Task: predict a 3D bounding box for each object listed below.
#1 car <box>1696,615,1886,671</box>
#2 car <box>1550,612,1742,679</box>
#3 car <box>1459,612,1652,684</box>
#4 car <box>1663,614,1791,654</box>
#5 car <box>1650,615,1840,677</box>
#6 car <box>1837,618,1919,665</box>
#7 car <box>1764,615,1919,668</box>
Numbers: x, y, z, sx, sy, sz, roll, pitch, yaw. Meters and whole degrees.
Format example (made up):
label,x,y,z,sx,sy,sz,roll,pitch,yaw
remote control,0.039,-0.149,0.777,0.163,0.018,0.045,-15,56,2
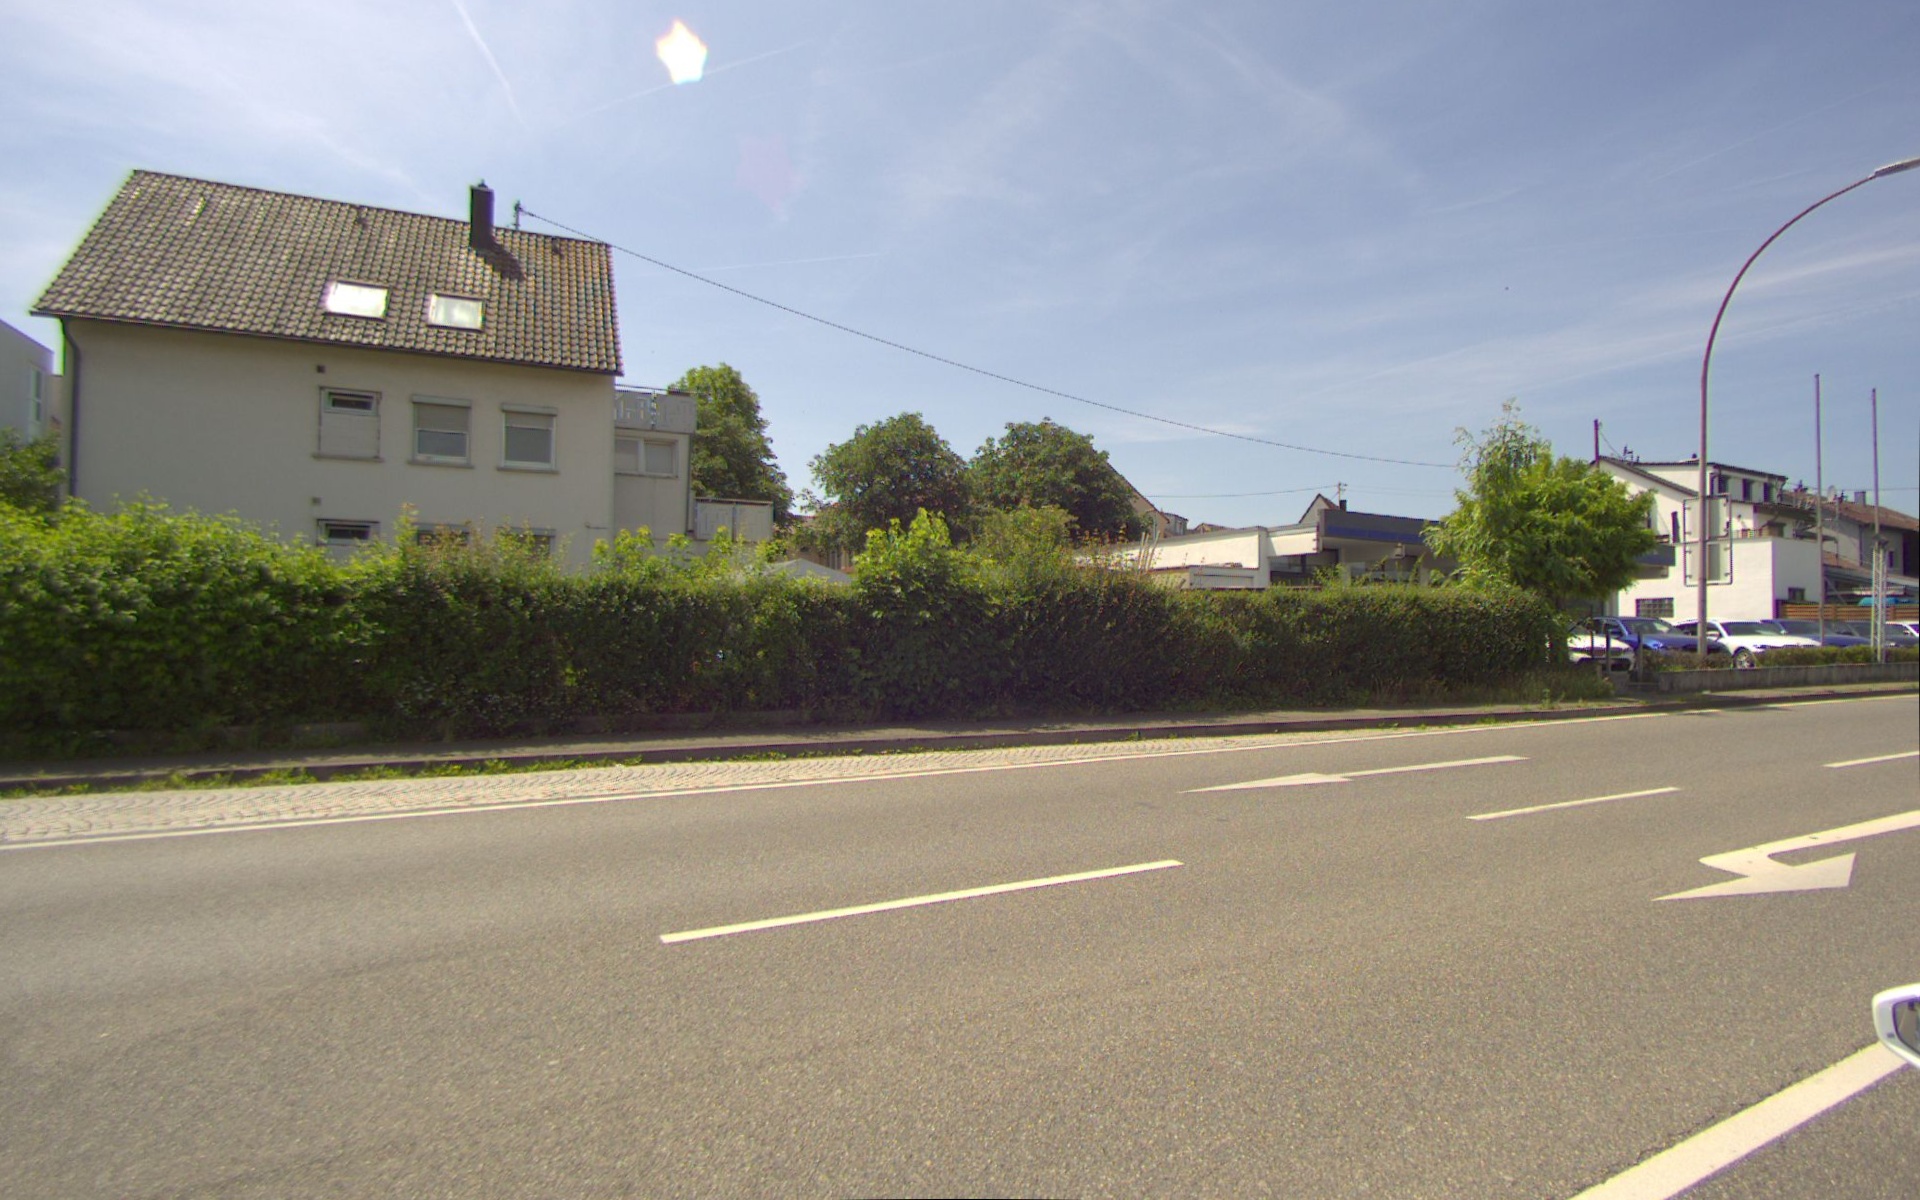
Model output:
label,x,y,z,sx,sy,sz,roll,pitch,yaw
car,24.390,1.219,29.735,1.822,1.467,4.340,2,0,-4
car,16.891,1.066,25.044,1.820,1.467,4.343,2,-1,1
car,13.769,1.049,23.585,1.820,1.467,4.581,2,-1,1
car,31.959,1.385,41.978,1.804,1.530,3.988,1,0,-15
car,21.109,1.167,27.279,1.820,1.467,4.517,1,0,4
car,31.187,1.359,32.411,1.821,1.467,4.340,2,0,-3
car,27.717,1.251,31.167,1.862,1.467,4.340,2,0,-3
